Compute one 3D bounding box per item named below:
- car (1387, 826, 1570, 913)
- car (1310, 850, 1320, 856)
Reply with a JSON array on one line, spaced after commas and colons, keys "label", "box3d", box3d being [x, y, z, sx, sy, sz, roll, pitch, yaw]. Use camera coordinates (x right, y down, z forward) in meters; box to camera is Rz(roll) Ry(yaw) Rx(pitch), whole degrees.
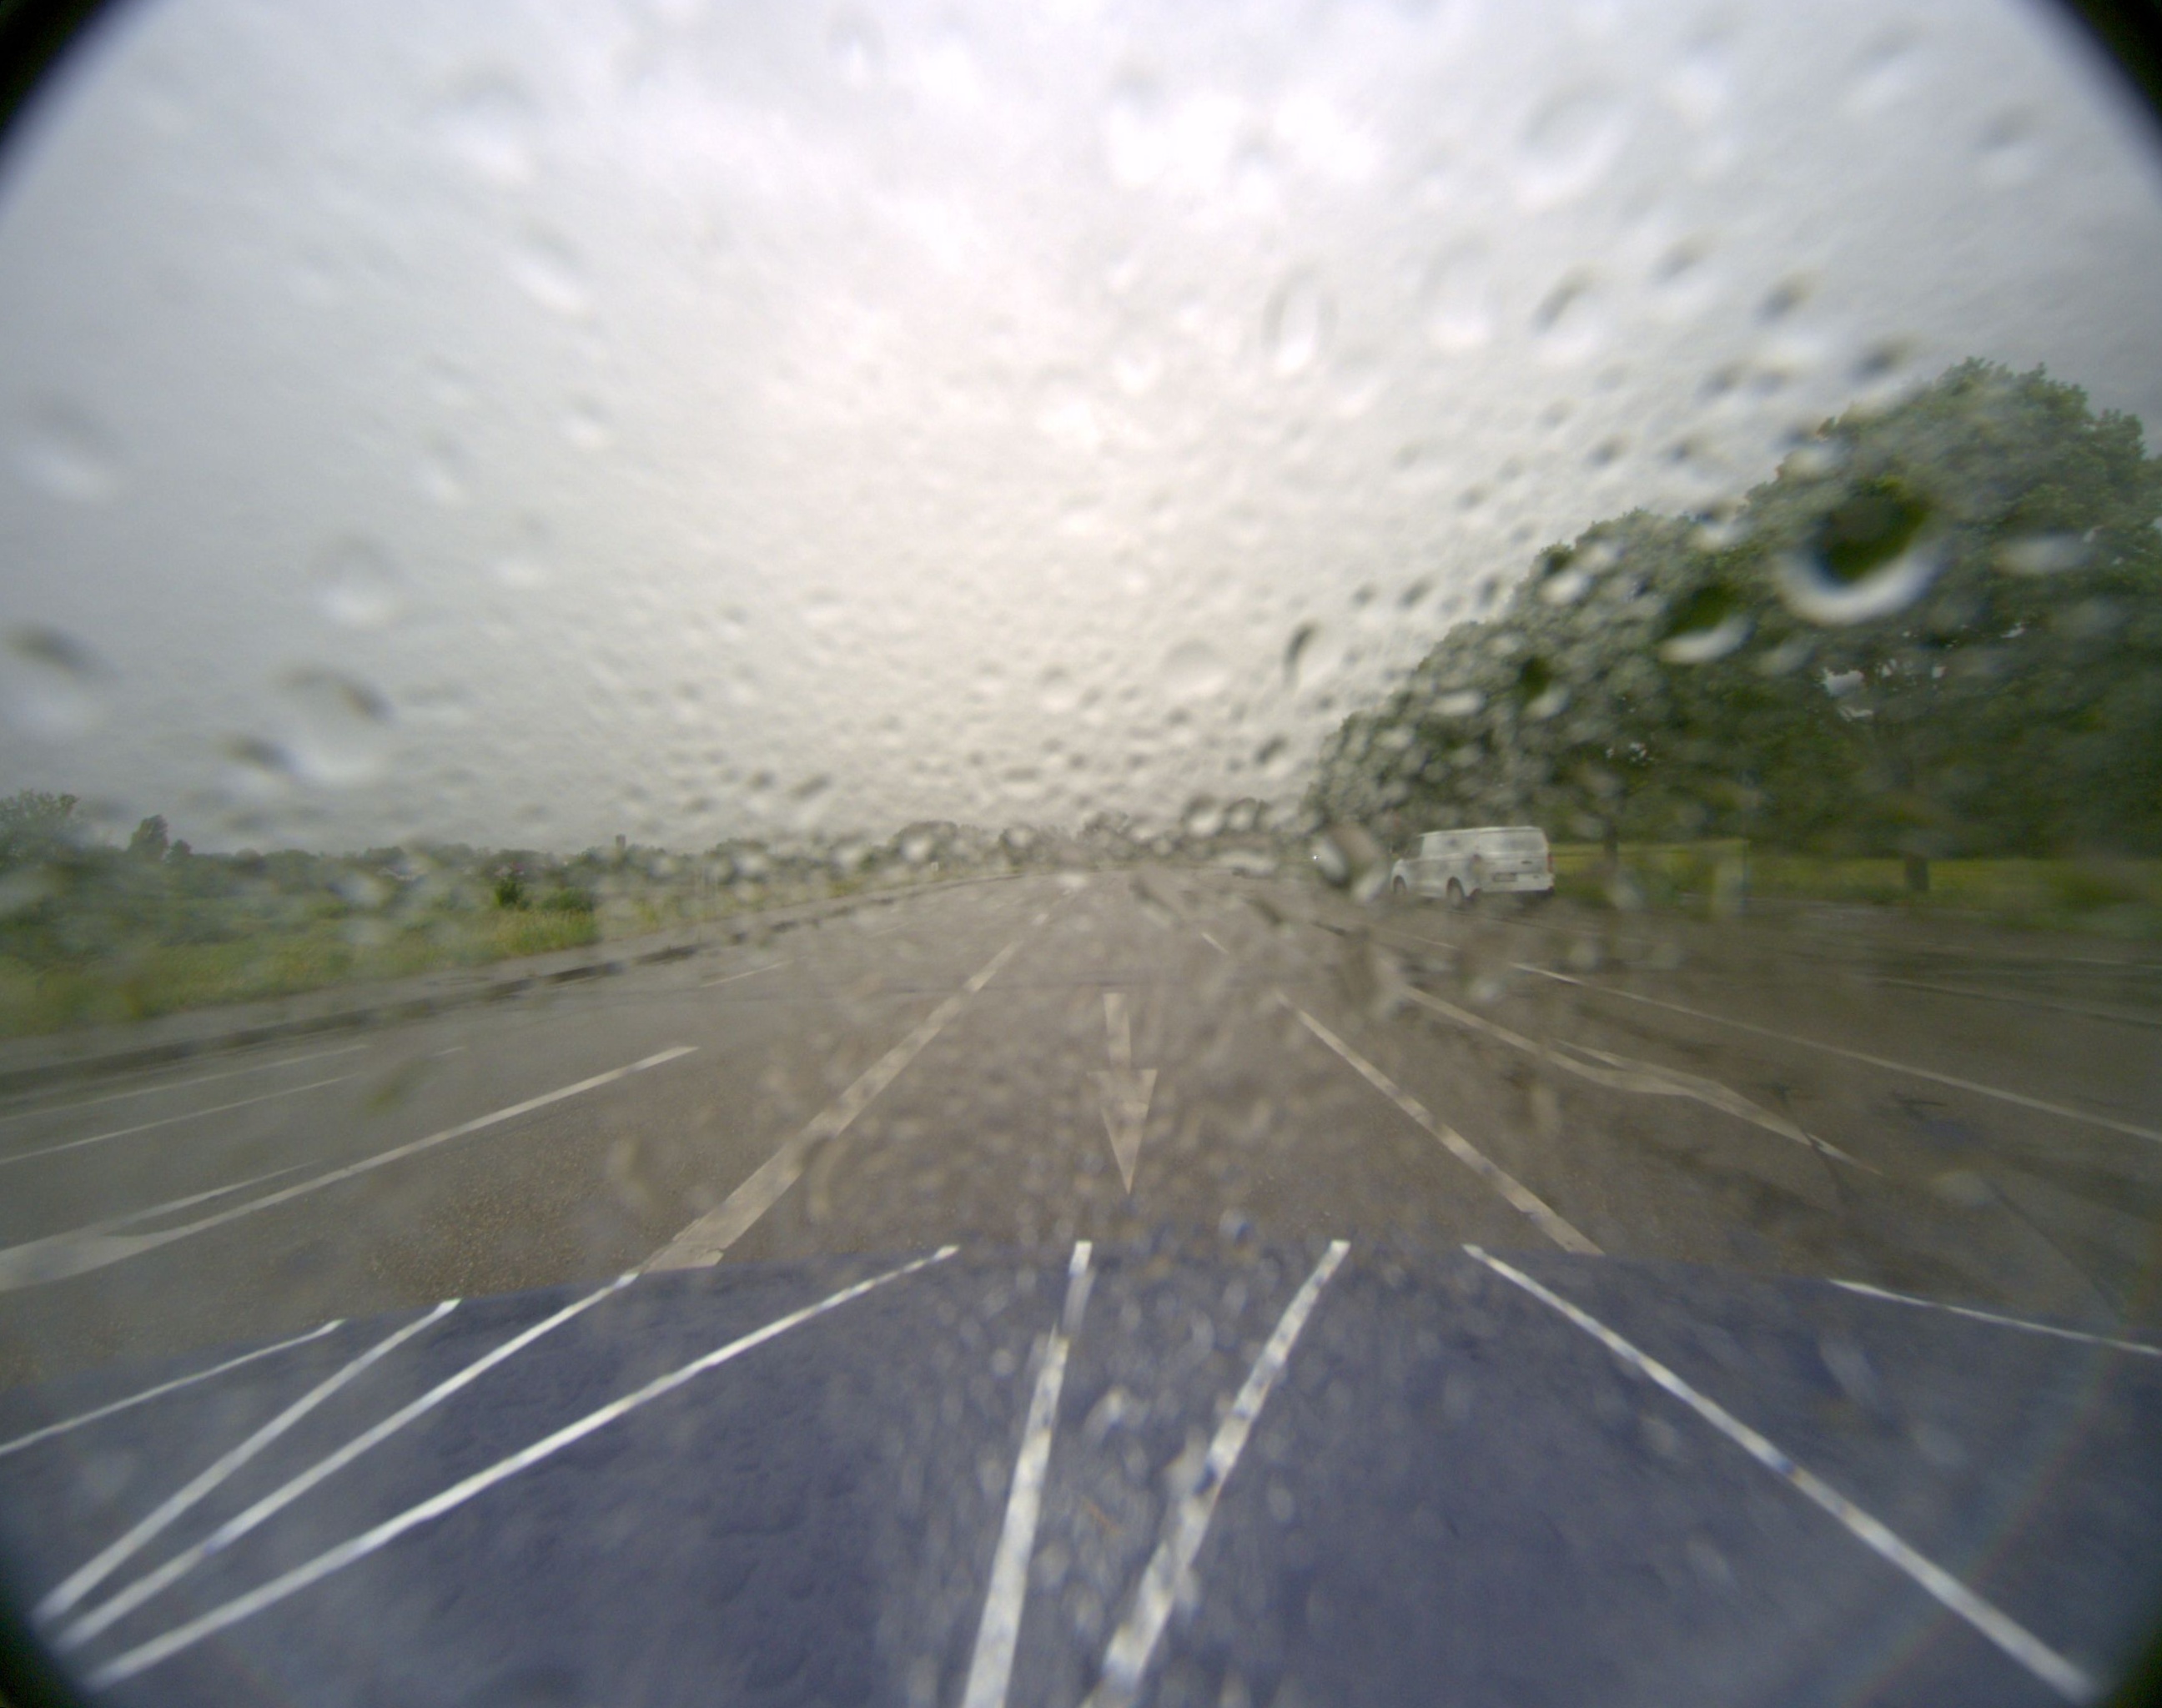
[{"label": "car", "box3d": [9.867, 0.334, 19.421, 2.112, 1.881, 4.790, -1, 0, -1]}, {"label": "car", "box3d": [61.225, -0.235, 198.507, 1.913, 1.576, 4.110, -1, 1, 26]}]
